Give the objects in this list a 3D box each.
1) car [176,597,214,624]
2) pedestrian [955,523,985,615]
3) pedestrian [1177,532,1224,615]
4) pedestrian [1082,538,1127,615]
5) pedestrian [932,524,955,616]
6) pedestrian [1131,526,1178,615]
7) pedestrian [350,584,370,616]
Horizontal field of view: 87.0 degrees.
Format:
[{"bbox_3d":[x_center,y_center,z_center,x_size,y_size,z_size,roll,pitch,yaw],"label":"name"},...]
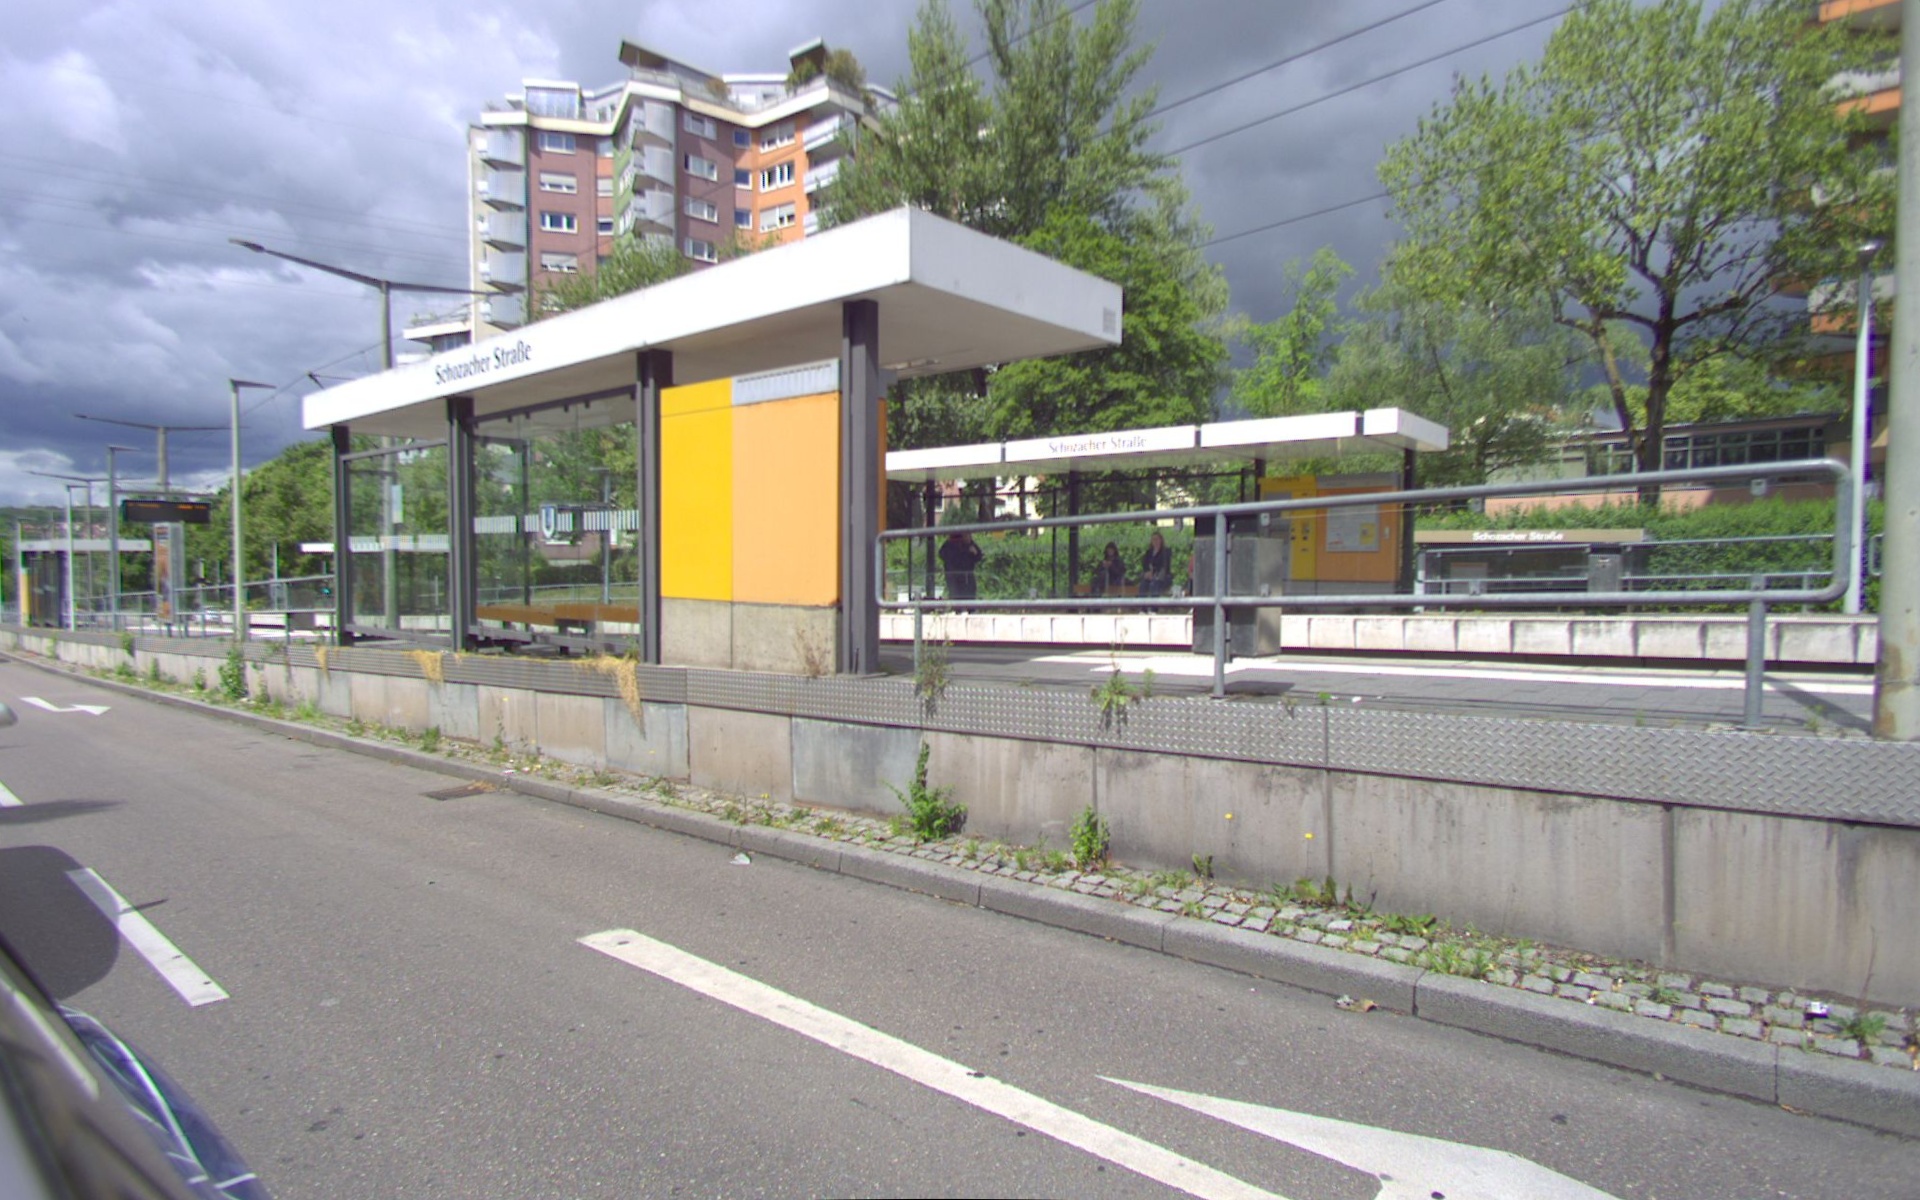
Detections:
[{"bbox_3d":[-60.451,0.835,79.992,4.000,2.029,1.714,-1,0,43],"label":"car"},{"bbox_3d":[0.189,-0.579,19.215,0.544,1.726,0.386,-1,0,-1],"label":"pedestrian"},{"bbox_3d":[3.837,-0.416,16.128,0.463,1.287,0.704,-1,0,40],"label":"pedestrian"},{"bbox_3d":[2.498,-0.399,17.482,0.463,1.287,0.704,-1,0,40],"label":"pedestrian"},{"bbox_3d":[-0.316,-0.567,19.121,0.421,1.726,0.353,-1,0,-1],"label":"pedestrian"},{"bbox_3d":[3.213,-0.478,16.681,0.463,1.428,0.704,-1,0,40],"label":"pedestrian"},{"bbox_3d":[-24.506,0.003,41.323,0.561,1.287,0.529,-1,0,41],"label":"pedestrian"}]
